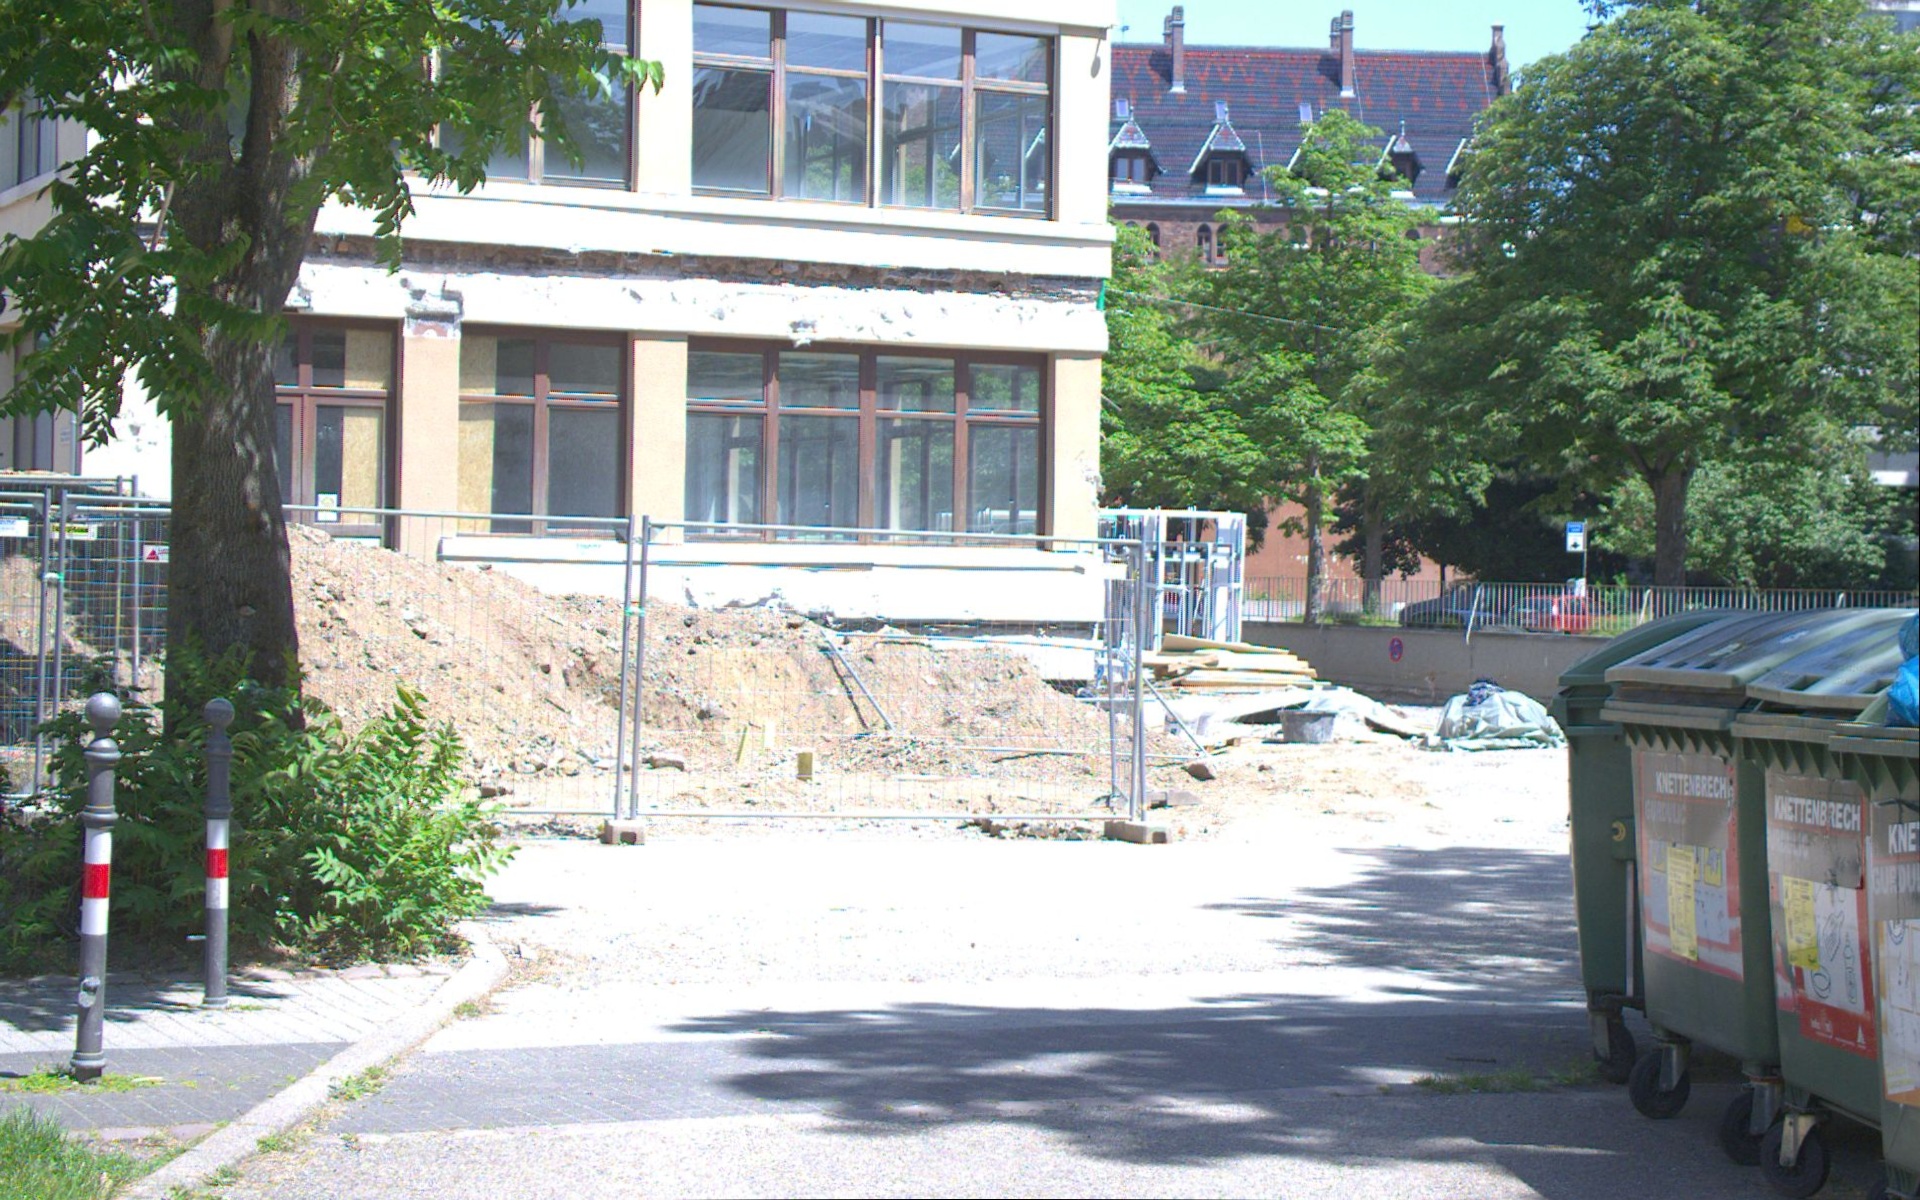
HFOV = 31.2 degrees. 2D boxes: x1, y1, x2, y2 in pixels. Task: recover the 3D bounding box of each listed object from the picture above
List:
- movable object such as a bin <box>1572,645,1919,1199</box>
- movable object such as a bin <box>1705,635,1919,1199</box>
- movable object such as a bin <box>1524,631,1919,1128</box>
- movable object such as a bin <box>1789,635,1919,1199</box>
[{"bbox_3d":[2.470,0.878,9.562,1.178,1.465,1.312,1,-1,-5],"label":"movable object such as a bin"},{"bbox_3d":[2.538,0.832,8.121,1.179,1.465,1.311,1,-1,-3],"label":"movable object such as a bin"},{"bbox_3d":[2.462,0.850,11.102,1.179,1.465,1.332,1,-1,12],"label":"movable object such as a bin"},{"bbox_3d":[2.429,0.817,6.737,1.178,1.465,1.312,1,-1,-6],"label":"movable object such as a bin"}]
